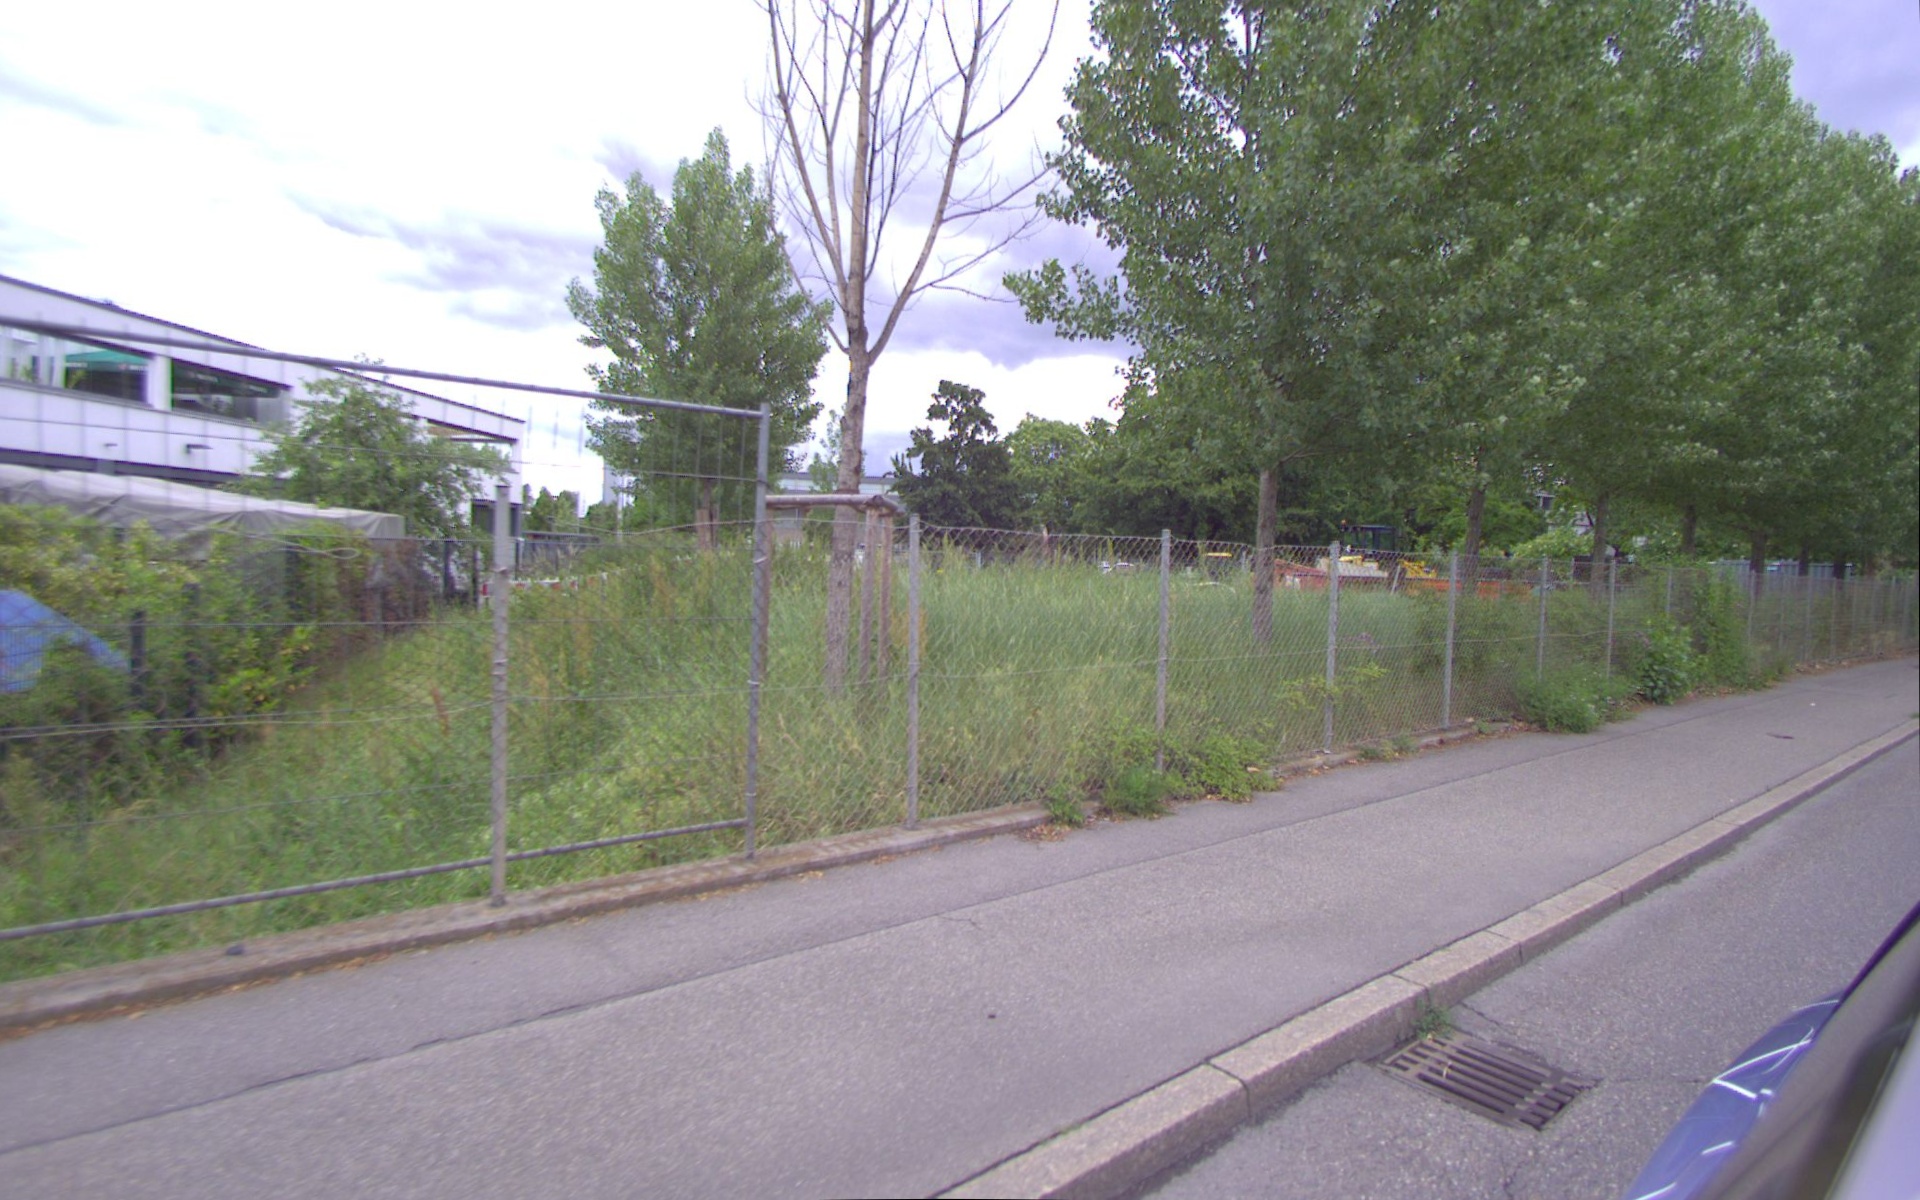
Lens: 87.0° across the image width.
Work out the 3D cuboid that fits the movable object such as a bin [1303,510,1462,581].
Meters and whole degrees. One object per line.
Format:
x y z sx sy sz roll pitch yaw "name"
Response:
13.148 -1.755 31.597 4.205 2.037 2.006 -2 5 -15 "movable object such as a bin"
